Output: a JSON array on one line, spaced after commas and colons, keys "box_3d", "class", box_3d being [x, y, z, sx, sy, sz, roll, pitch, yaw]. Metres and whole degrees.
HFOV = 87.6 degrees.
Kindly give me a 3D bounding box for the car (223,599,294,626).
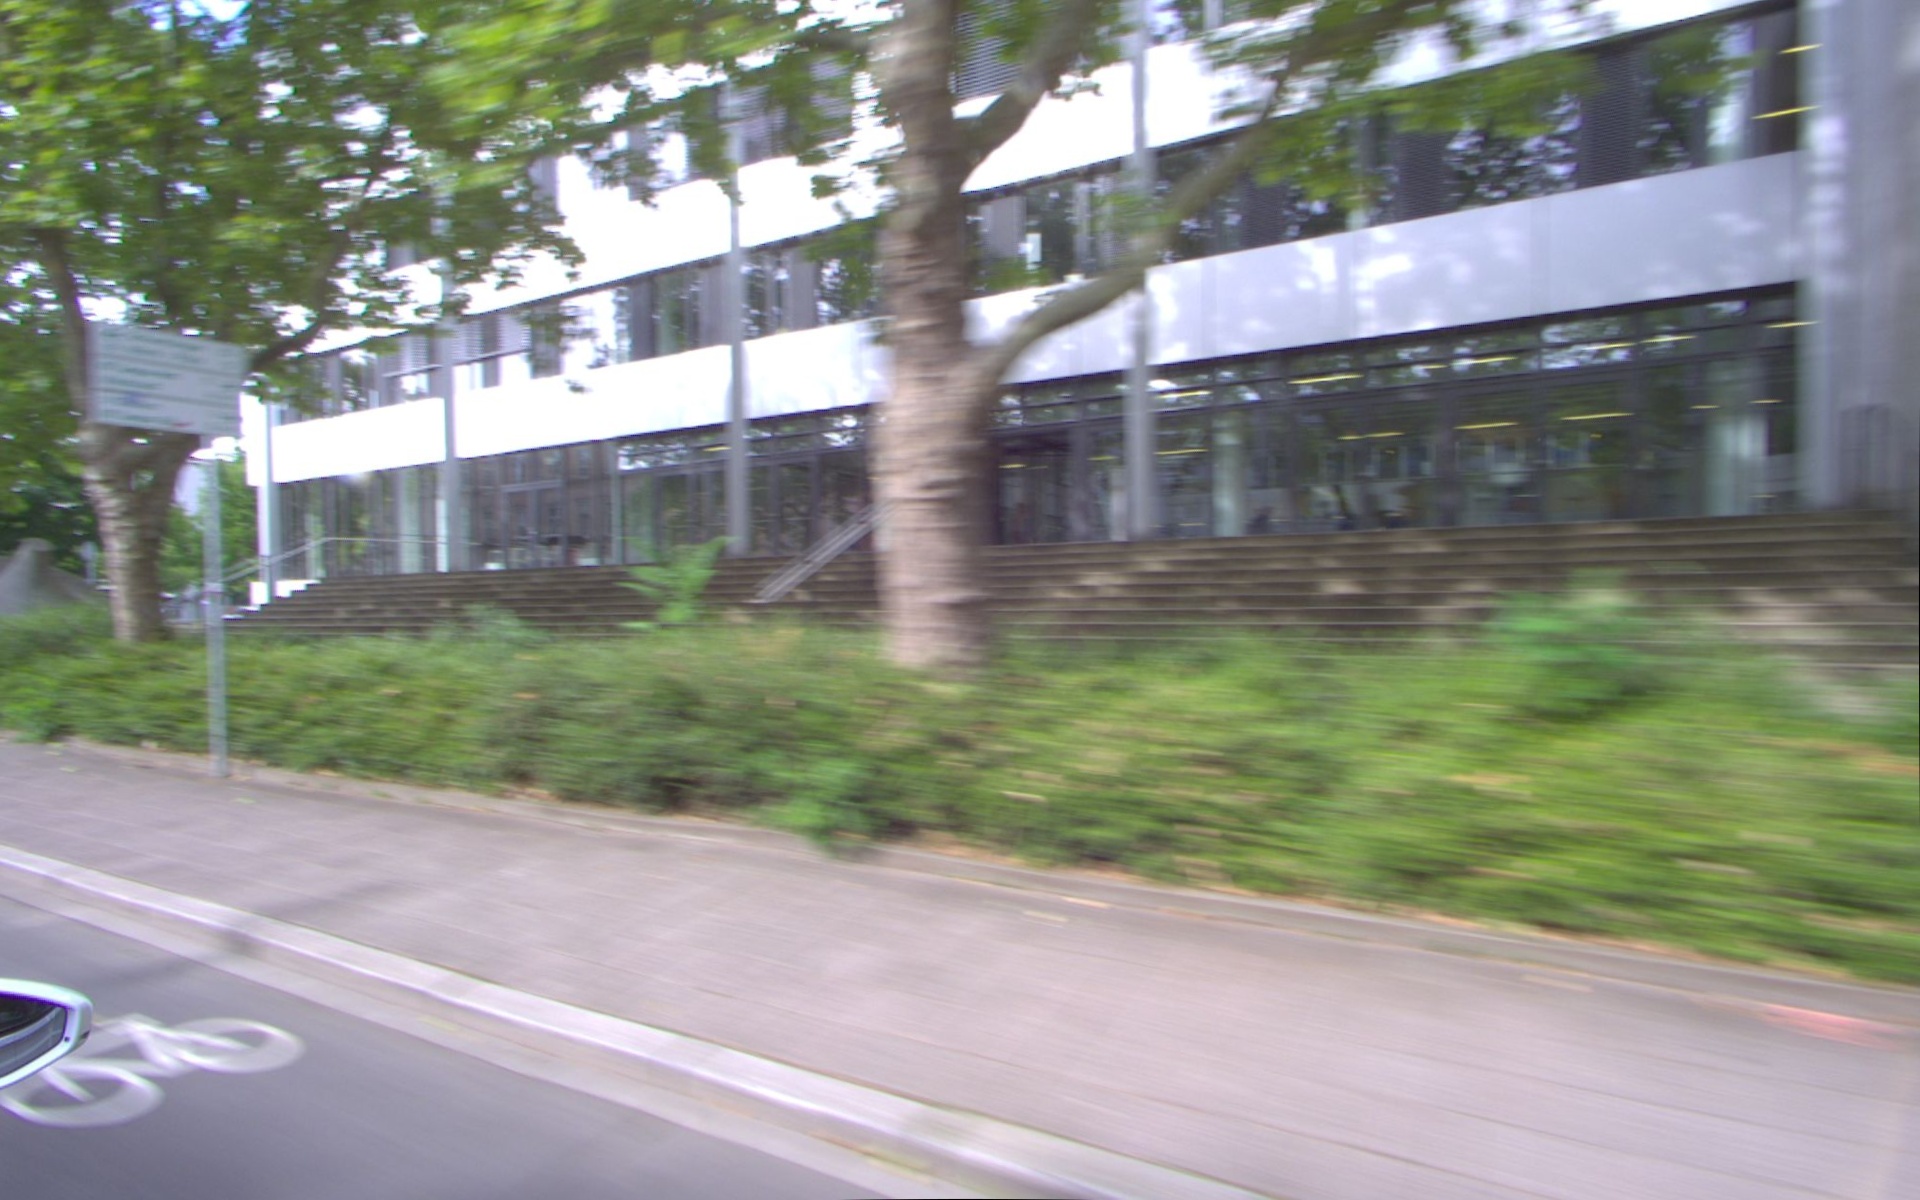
[{"box_3d": [-44.487, 0.778, 63.496, 4.087, 1.673, 1.959, 0, 1, 27], "class": "car"}]
